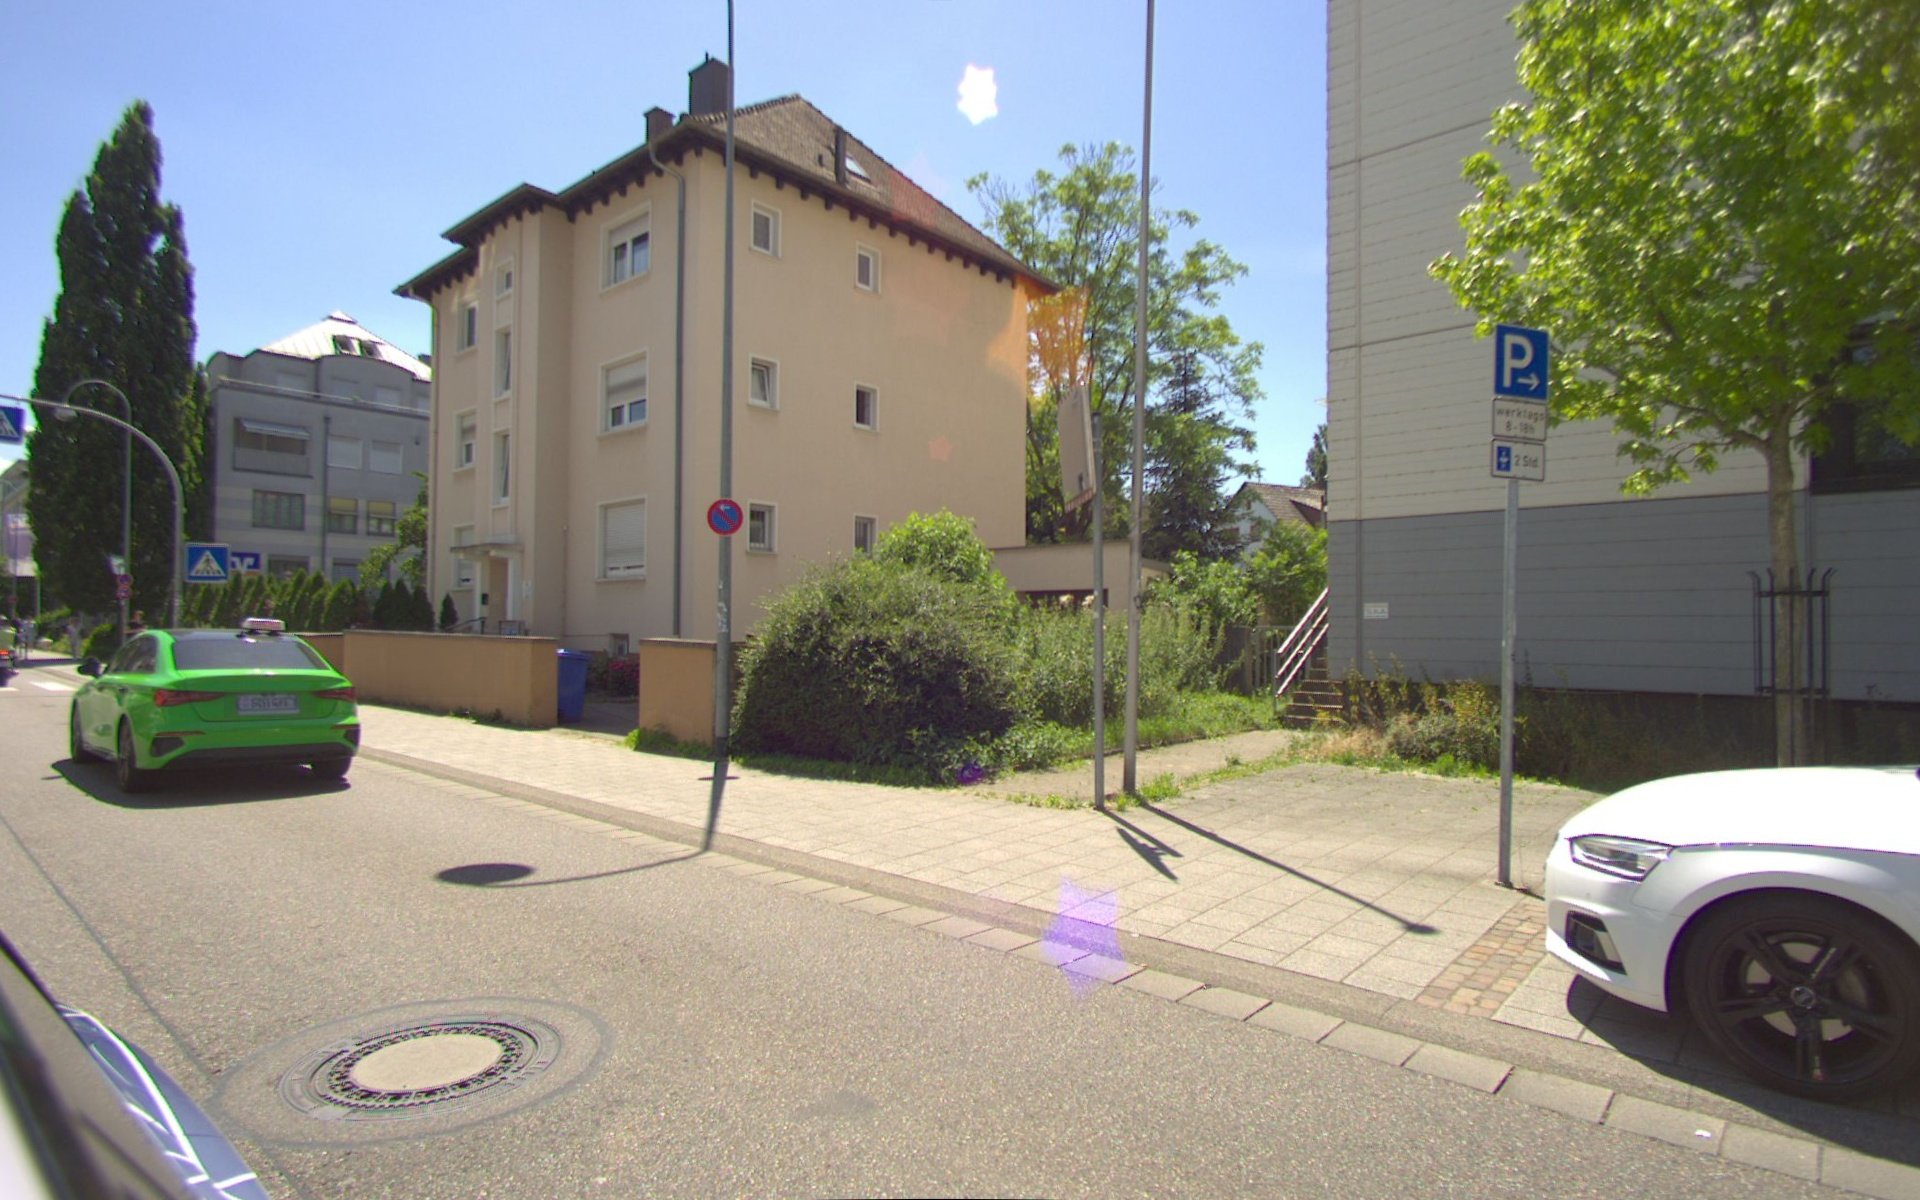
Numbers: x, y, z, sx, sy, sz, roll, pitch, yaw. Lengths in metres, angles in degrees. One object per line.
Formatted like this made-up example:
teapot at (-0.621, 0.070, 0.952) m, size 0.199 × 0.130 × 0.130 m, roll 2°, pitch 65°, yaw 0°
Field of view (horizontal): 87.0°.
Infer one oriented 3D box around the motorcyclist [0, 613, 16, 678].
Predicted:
motorcyclist at (-21.740, 1.026, 22.767) m, size 0.690 × 1.444 × 0.708 m, roll 2°, pitch -3°, yaw -42°

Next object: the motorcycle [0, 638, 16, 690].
motorcycle at (-21.683, 1.419, 22.690) m, size 0.690 × 1.116 × 1.792 m, roll 2°, pitch -3°, yaw -42°

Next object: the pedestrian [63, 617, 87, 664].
pedestrian at (-32.551, 1.481, 37.225) m, size 0.708 × 1.698 × 0.531 m, roll -1°, pitch -2°, yaw 42°

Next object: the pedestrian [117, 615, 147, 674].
pedestrian at (-23.946, 1.276, 29.266) m, size 0.708 × 1.698 × 0.531 m, roll -1°, pitch -2°, yaw 42°

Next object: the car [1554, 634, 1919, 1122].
car at (4.454, 0.836, 2.807) m, size 4.576 × 1.422 × 1.803 m, roll -1°, pitch -1°, yaw 42°

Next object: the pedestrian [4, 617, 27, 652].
pedestrian at (-48.478, 1.765, 51.944) m, size 0.951 × 1.784 × 0.740 m, roll -1°, pitch -2°, yaw 41°

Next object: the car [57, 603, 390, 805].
car at (-7.439, 0.887, 10.076) m, size 4.099 × 1.600 × 1.803 m, roll -1°, pitch -3°, yaw 42°

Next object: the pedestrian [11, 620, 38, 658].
pedestrian at (-42.631, 1.775, 46.105) m, size 0.751 × 1.657 × 0.836 m, roll -1°, pitch 1°, yaw 44°
